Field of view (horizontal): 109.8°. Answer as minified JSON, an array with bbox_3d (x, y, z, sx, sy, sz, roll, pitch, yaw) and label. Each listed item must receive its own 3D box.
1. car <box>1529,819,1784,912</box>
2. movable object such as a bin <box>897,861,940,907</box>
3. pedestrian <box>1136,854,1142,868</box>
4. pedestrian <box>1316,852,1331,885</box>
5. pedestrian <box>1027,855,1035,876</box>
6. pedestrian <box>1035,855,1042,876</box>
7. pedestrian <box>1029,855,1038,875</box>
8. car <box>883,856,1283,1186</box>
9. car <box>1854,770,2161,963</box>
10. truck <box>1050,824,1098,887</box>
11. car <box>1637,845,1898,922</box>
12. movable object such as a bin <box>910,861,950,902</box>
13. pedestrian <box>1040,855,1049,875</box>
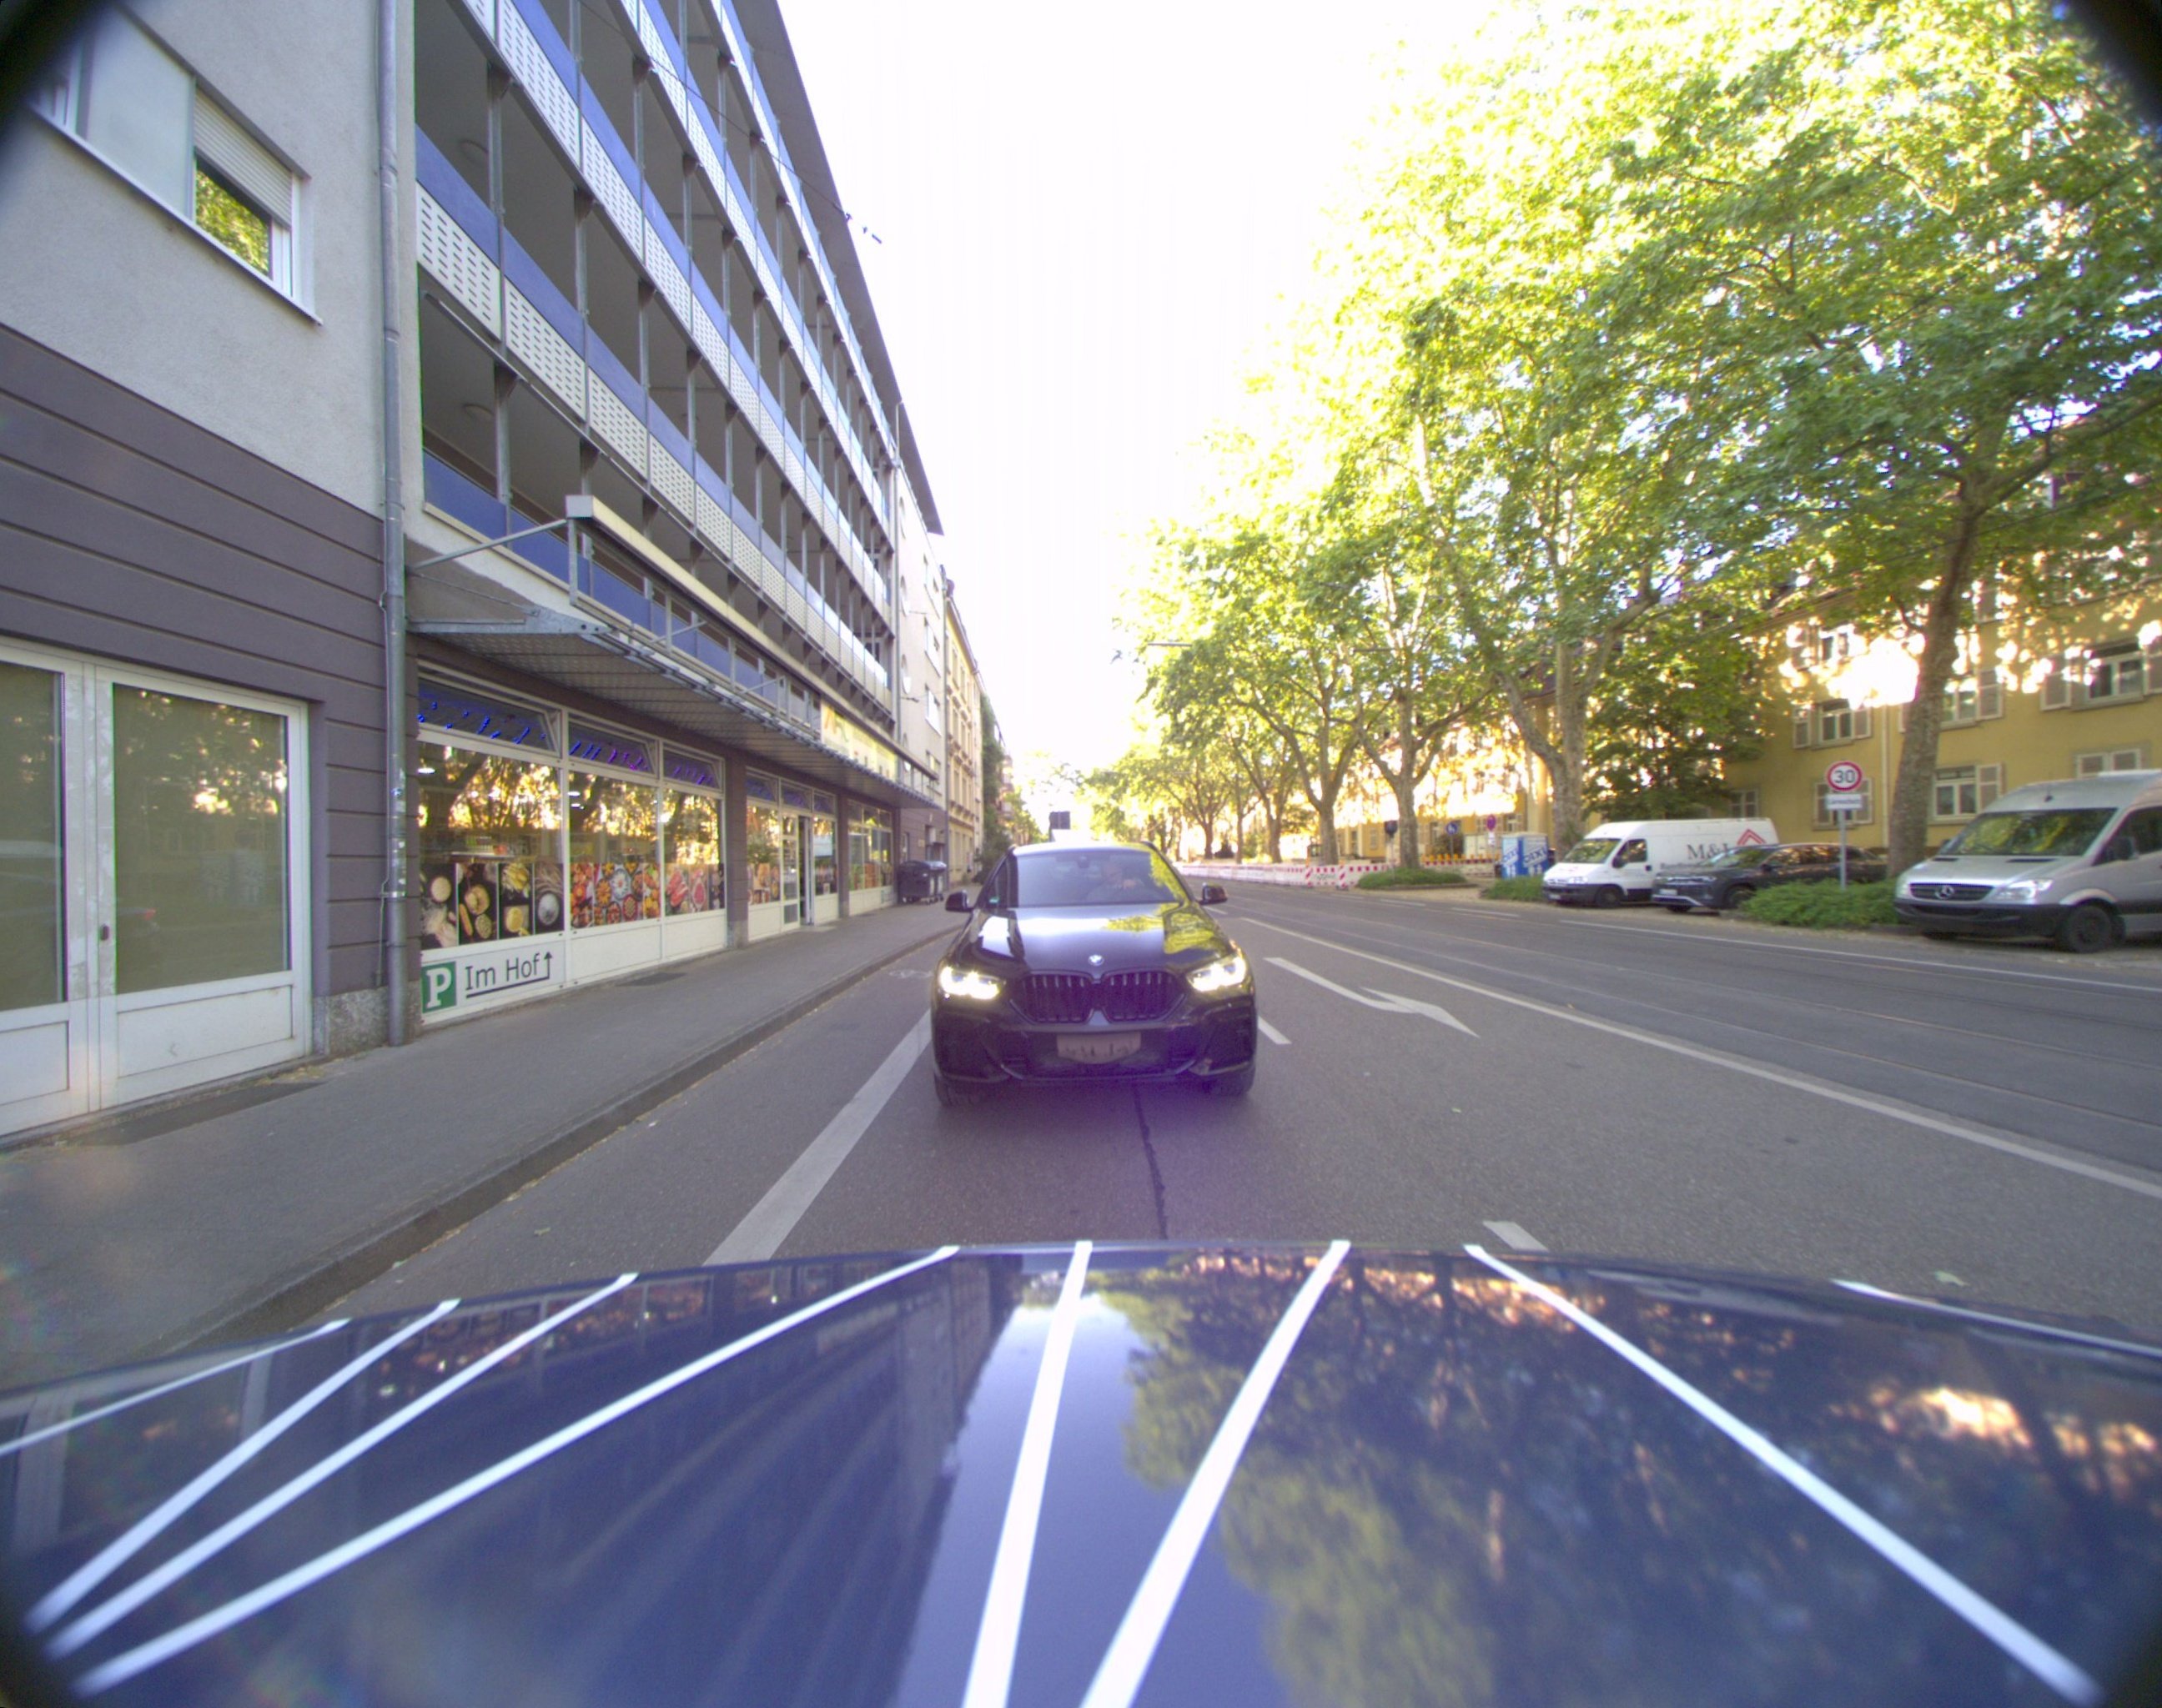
[{"bbox_3d":[15.838,0.294,21.142,5.404,2.362,2.223,-1,0,0],"label":"car"},{"bbox_3d":[-5.264,0.955,24.640,1.158,1.418,0.939,-1,0,1],"label":"movable object such as a bin"},{"bbox_3d":[8.252,1.012,108.548,0.733,1.875,0.741,-2,1,-2],"label":"pedestrian"},{"bbox_3d":[12.960,0.754,40.621,0.581,1.735,0.653,-1,1,33],"label":"pedestrian"},{"bbox_3d":[-4.575,1.074,69.700,0.600,1.875,0.581,-2,1,-1],"label":"pedestrian"},{"bbox_3d":[-3.932,1.046,70.000,0.600,1.875,0.581,-2,1,-1],"label":"pedestrian"},{"bbox_3d":[-4.396,1.041,71.014,0.733,1.875,0.664,-2,1,-1],"label":"pedestrian"},{"bbox_3d":[0.037,0.856,5.992,1.998,1.643,4.295,-1,0,1],"label":"car"},{"bbox_3d":[15.978,0.132,11.853,5.666,2.666,2.223,-2,0,-2],"label":"car"},{"bbox_3d":[-0.324,0.125,42.116,2.394,3.170,6.587,-1,0,1],"label":"truck"},{"bbox_3d":[16.071,0.661,17.935,4.627,1.642,1.774,-1,0,-2],"label":"car"},{"bbox_3d":[-5.290,0.955,26.678,1.158,1.418,0.939,-1,0,1],"label":"movable object such as a bin"},{"bbox_3d":[-3.434,1.008,71.024,0.733,1.875,0.664,-2,1,-1],"label":"pedestrian"}]
